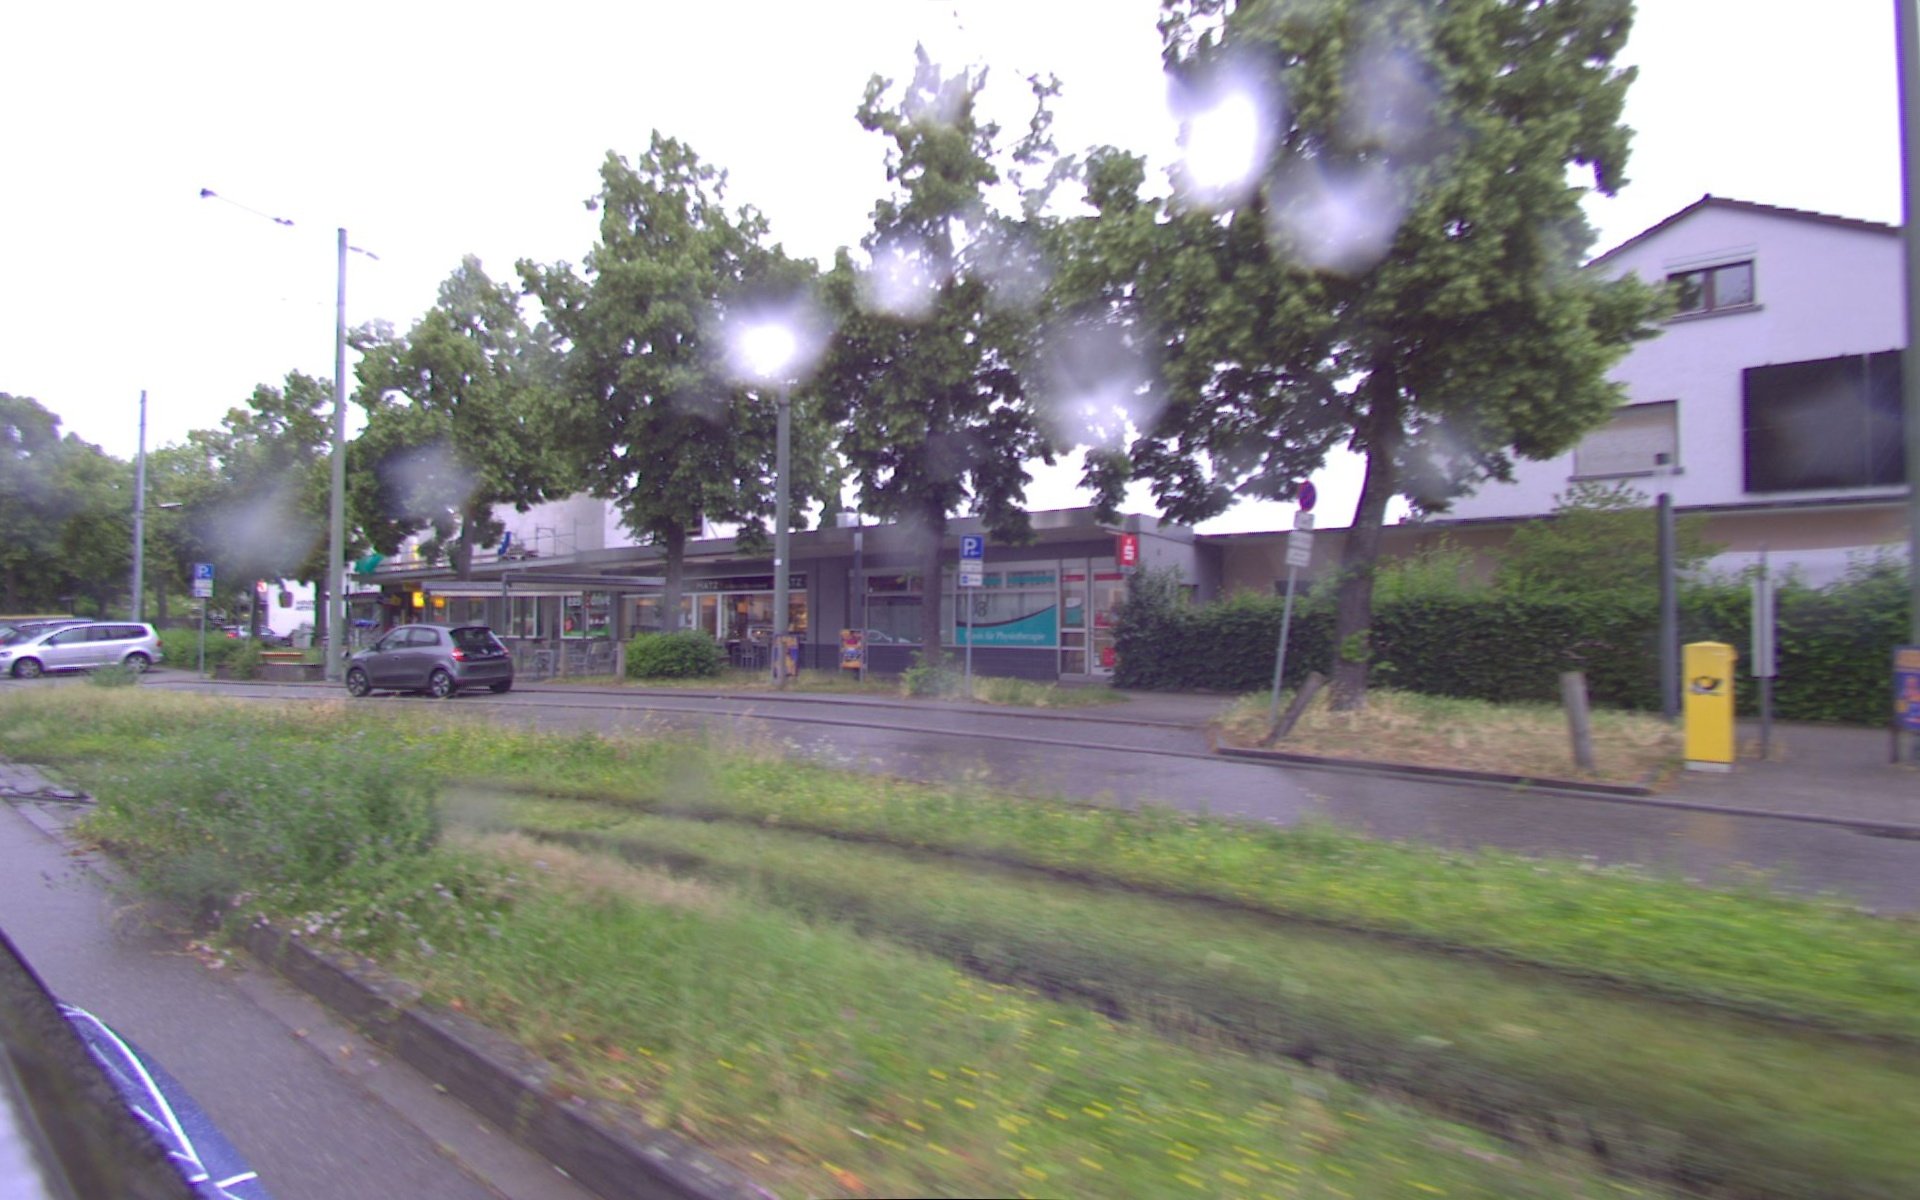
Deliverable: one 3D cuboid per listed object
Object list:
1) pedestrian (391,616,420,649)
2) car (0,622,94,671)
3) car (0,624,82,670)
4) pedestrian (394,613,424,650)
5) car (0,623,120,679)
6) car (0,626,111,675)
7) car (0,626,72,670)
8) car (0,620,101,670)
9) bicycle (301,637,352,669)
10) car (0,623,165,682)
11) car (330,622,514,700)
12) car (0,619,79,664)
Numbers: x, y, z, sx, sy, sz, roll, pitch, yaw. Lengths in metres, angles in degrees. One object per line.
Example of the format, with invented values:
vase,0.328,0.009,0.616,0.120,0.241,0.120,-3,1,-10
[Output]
pedestrian,-27.093,1.571,49.440,1.063,1.596,0.950,2,-2,-39
car,-35.495,1.751,38.170,1.897,1.722,4.038,-2,-1,39
car,-37.472,1.849,39.919,1.897,1.722,4.038,-2,-1,39
pedestrian,-26.420,1.499,48.527,1.063,1.727,0.950,2,-2,-39
car,-30.167,1.652,33.097,1.792,1.686,3.896,-2,-1,39
car,-32.413,1.735,35.264,1.998,1.583,4.038,-2,-1,39
car,-41.871,2.114,44.298,1.897,1.823,4.249,-2,-1,39
car,-33.969,1.629,36.699,1.897,1.722,4.038,-2,-1,39
bicycle,-21.967,1.838,35.067,1.739,1.080,0.589,-1,-3,23
car,-27.887,1.606,31.772,1.998,1.686,4.281,-2,-1,39
car,-11.474,1.270,21.590,3.599,1.515,1.540,-1,0,23
car,-43.718,1.908,46.613,1.897,1.958,4.490,-2,-1,39
